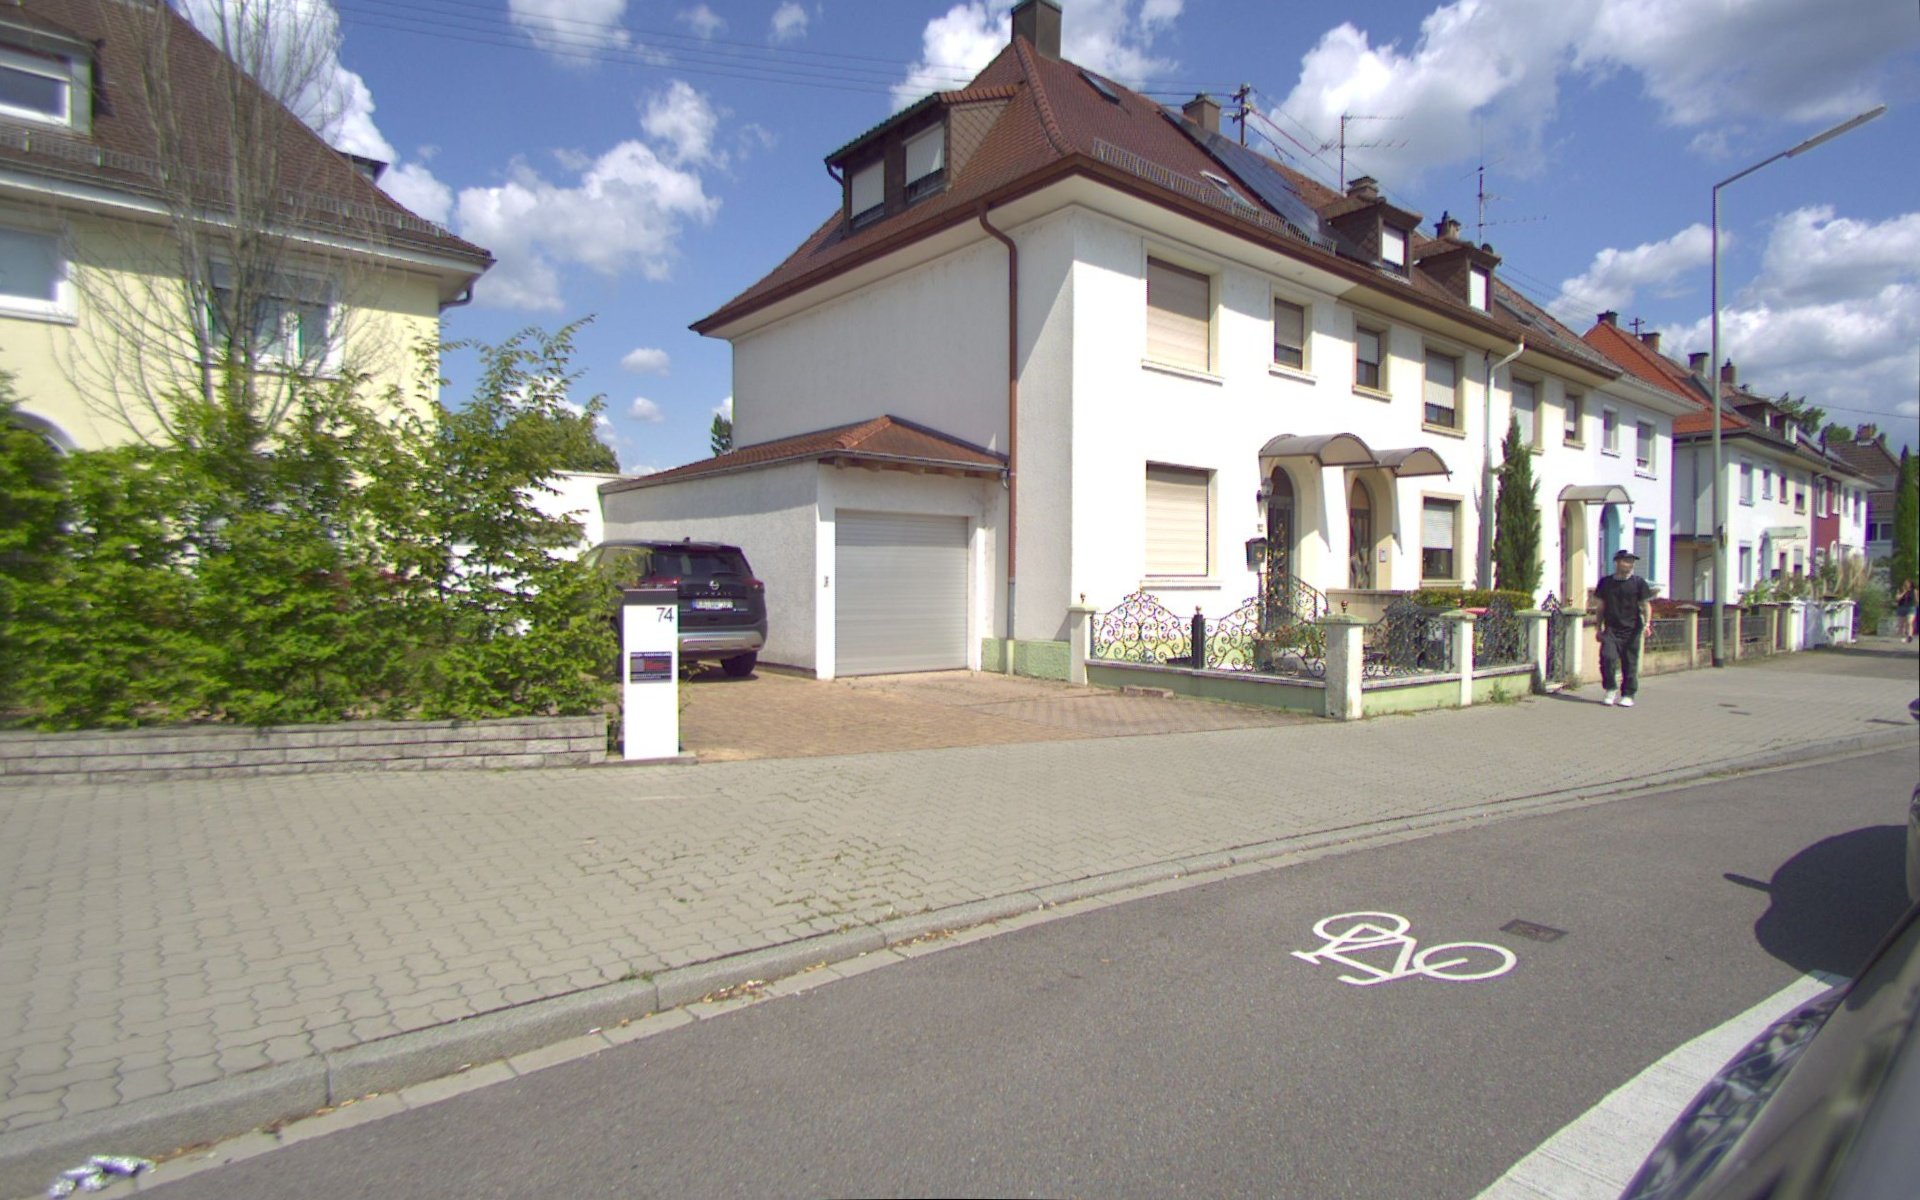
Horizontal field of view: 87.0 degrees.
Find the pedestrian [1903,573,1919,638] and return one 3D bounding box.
[{"bbox_3d":[25.698,0.144,27.128,0.607,1.732,0.519,0,1,-39],"label":"pedestrian"}]

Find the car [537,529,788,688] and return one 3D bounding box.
[{"bbox_3d":[-4.006,0.043,13.188,1.833,1.729,3.998,0,1,-37],"label":"car"}]

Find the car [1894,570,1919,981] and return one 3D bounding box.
[{"bbox_3d":[5.729,0.645,4.626,4.607,1.492,1.764,0,1,-43],"label":"car"}]

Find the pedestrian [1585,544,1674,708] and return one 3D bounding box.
[{"bbox_3d":[7.641,0.274,11.547,0.921,1.790,0.592,0,1,-41],"label":"pedestrian"}]
